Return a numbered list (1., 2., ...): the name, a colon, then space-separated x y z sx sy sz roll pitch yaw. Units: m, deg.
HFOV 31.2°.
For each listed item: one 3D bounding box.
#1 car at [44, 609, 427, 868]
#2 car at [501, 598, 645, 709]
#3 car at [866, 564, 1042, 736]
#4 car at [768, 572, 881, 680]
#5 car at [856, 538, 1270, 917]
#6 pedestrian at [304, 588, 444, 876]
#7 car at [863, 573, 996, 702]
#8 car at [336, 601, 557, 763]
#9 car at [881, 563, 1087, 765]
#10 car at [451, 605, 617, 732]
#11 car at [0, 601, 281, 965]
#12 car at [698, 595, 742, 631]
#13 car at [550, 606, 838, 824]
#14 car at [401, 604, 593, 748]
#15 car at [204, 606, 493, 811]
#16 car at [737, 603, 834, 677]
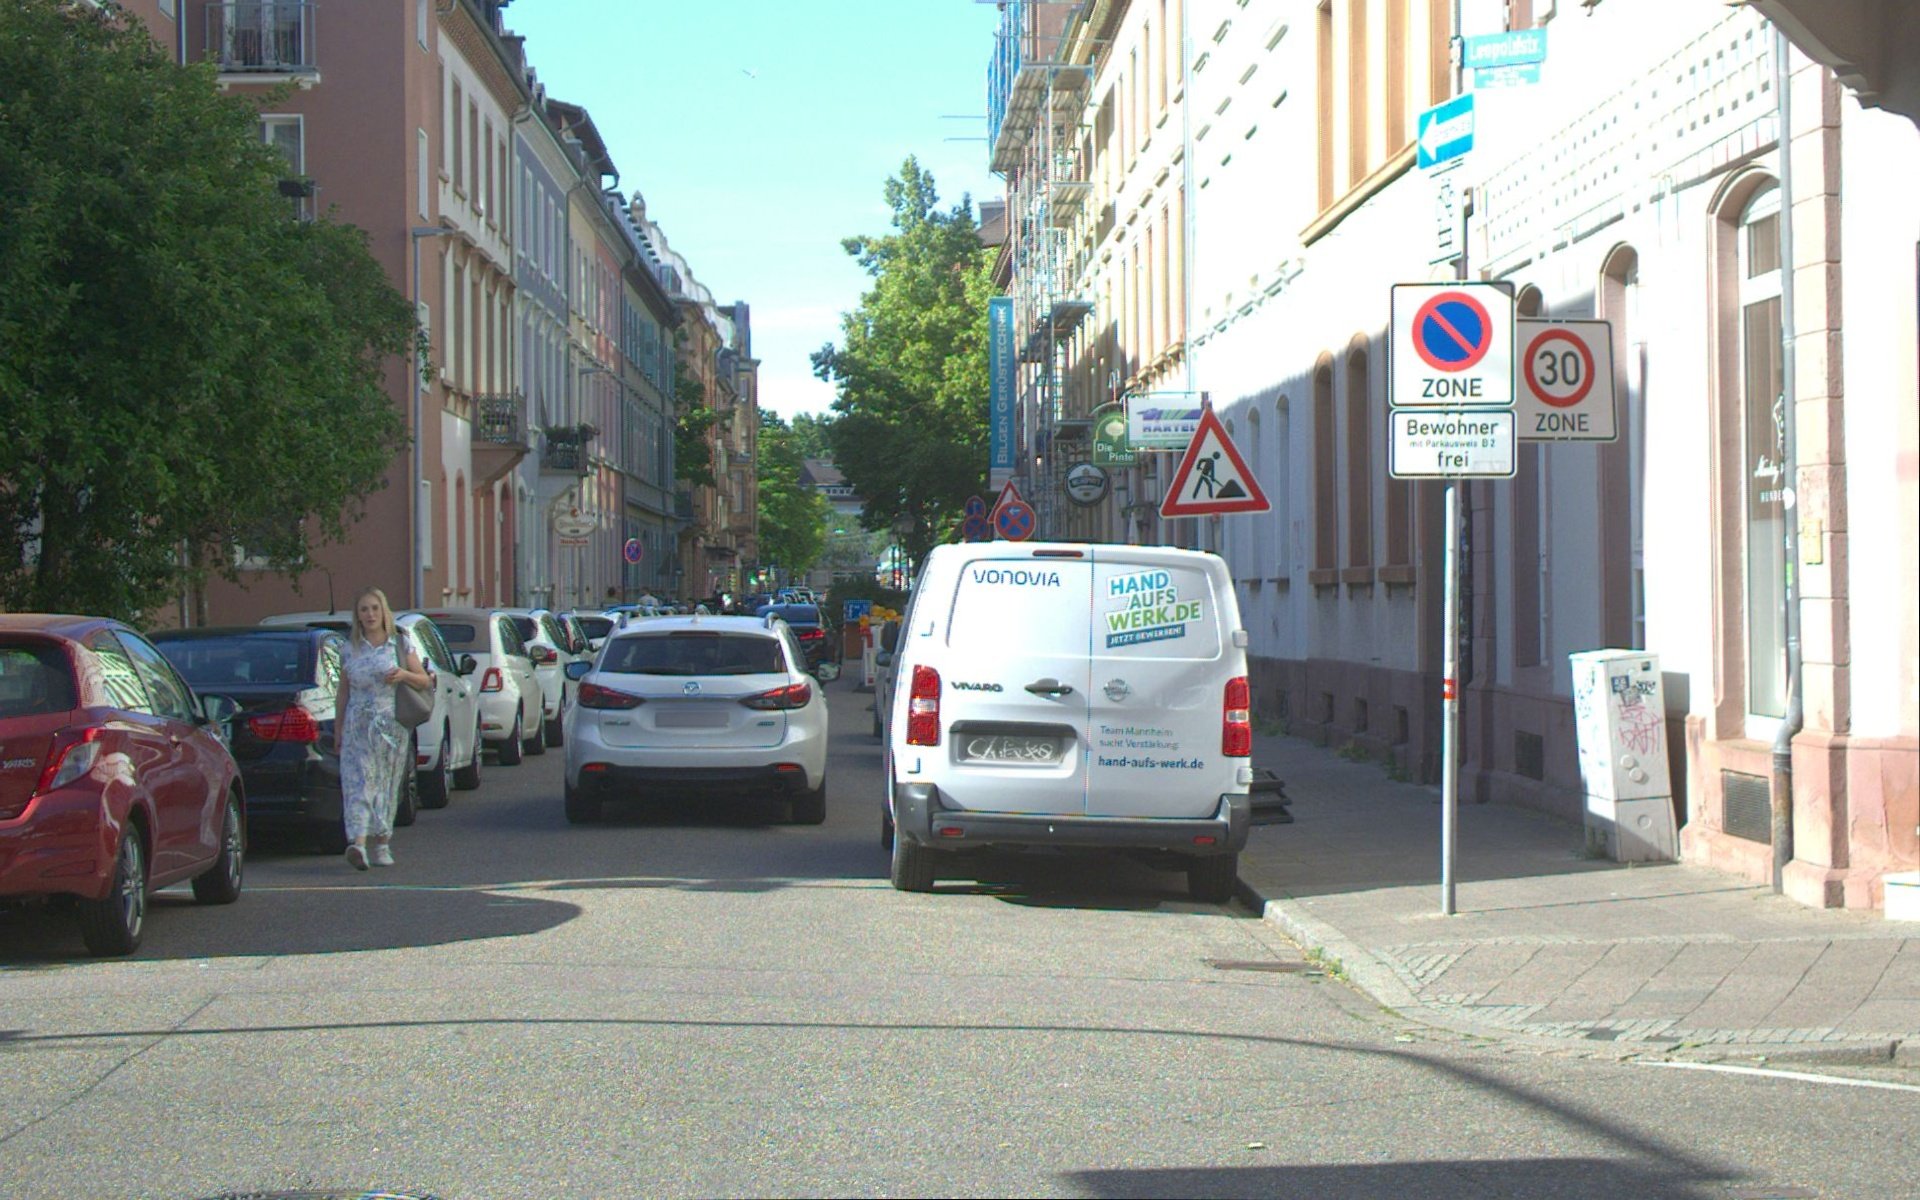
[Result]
1. car: -4.569 0.820 22.216 1.653 1.495 4.080 0 0 -1
2. car: -5.434 0.723 48.649 1.653 1.495 3.763 0 0 -1
3. car: -0.089 0.534 39.026 1.894 1.853 3.995 0 0 -1
4. car: -2.373 0.438 61.120 1.894 1.853 3.995 0 0 -1
5. car: 0.447 0.637 19.841 1.894 1.853 5.014 2 0 -3
6. pedestrian: -3.373 0.741 19.748 0.733 1.608 0.816 -1 0 -13
7. car: -0.454 0.530 51.197 1.894 1.853 3.995 0 0 -1
8. car: -5.011 0.765 33.932 1.653 1.495 3.763 0 0 -1
9. car: 0.199 0.580 33.650 1.894 1.853 3.995 0 0 -1
10. car: -5.300 0.824 43.147 1.653 1.495 3.763 0 0 -1
11. car: -4.431 0.780 16.258 1.685 1.495 3.807 -1 0 -1
12. car: -10.080 0.543 144.652 1.653 1.495 3.763 0 0 -1
13. car: -1.845 0.815 24.944 1.831 1.452 3.962 0 -1 -1
14. car: -5.071 0.803 38.049 1.653 1.495 3.763 0 0 -1
15. car: -4.775 0.806 27.288 1.653 1.495 3.763 0 0 -1
16. car: -3.460 0.778 68.841 1.760 1.405 4.328 0 0 -1
